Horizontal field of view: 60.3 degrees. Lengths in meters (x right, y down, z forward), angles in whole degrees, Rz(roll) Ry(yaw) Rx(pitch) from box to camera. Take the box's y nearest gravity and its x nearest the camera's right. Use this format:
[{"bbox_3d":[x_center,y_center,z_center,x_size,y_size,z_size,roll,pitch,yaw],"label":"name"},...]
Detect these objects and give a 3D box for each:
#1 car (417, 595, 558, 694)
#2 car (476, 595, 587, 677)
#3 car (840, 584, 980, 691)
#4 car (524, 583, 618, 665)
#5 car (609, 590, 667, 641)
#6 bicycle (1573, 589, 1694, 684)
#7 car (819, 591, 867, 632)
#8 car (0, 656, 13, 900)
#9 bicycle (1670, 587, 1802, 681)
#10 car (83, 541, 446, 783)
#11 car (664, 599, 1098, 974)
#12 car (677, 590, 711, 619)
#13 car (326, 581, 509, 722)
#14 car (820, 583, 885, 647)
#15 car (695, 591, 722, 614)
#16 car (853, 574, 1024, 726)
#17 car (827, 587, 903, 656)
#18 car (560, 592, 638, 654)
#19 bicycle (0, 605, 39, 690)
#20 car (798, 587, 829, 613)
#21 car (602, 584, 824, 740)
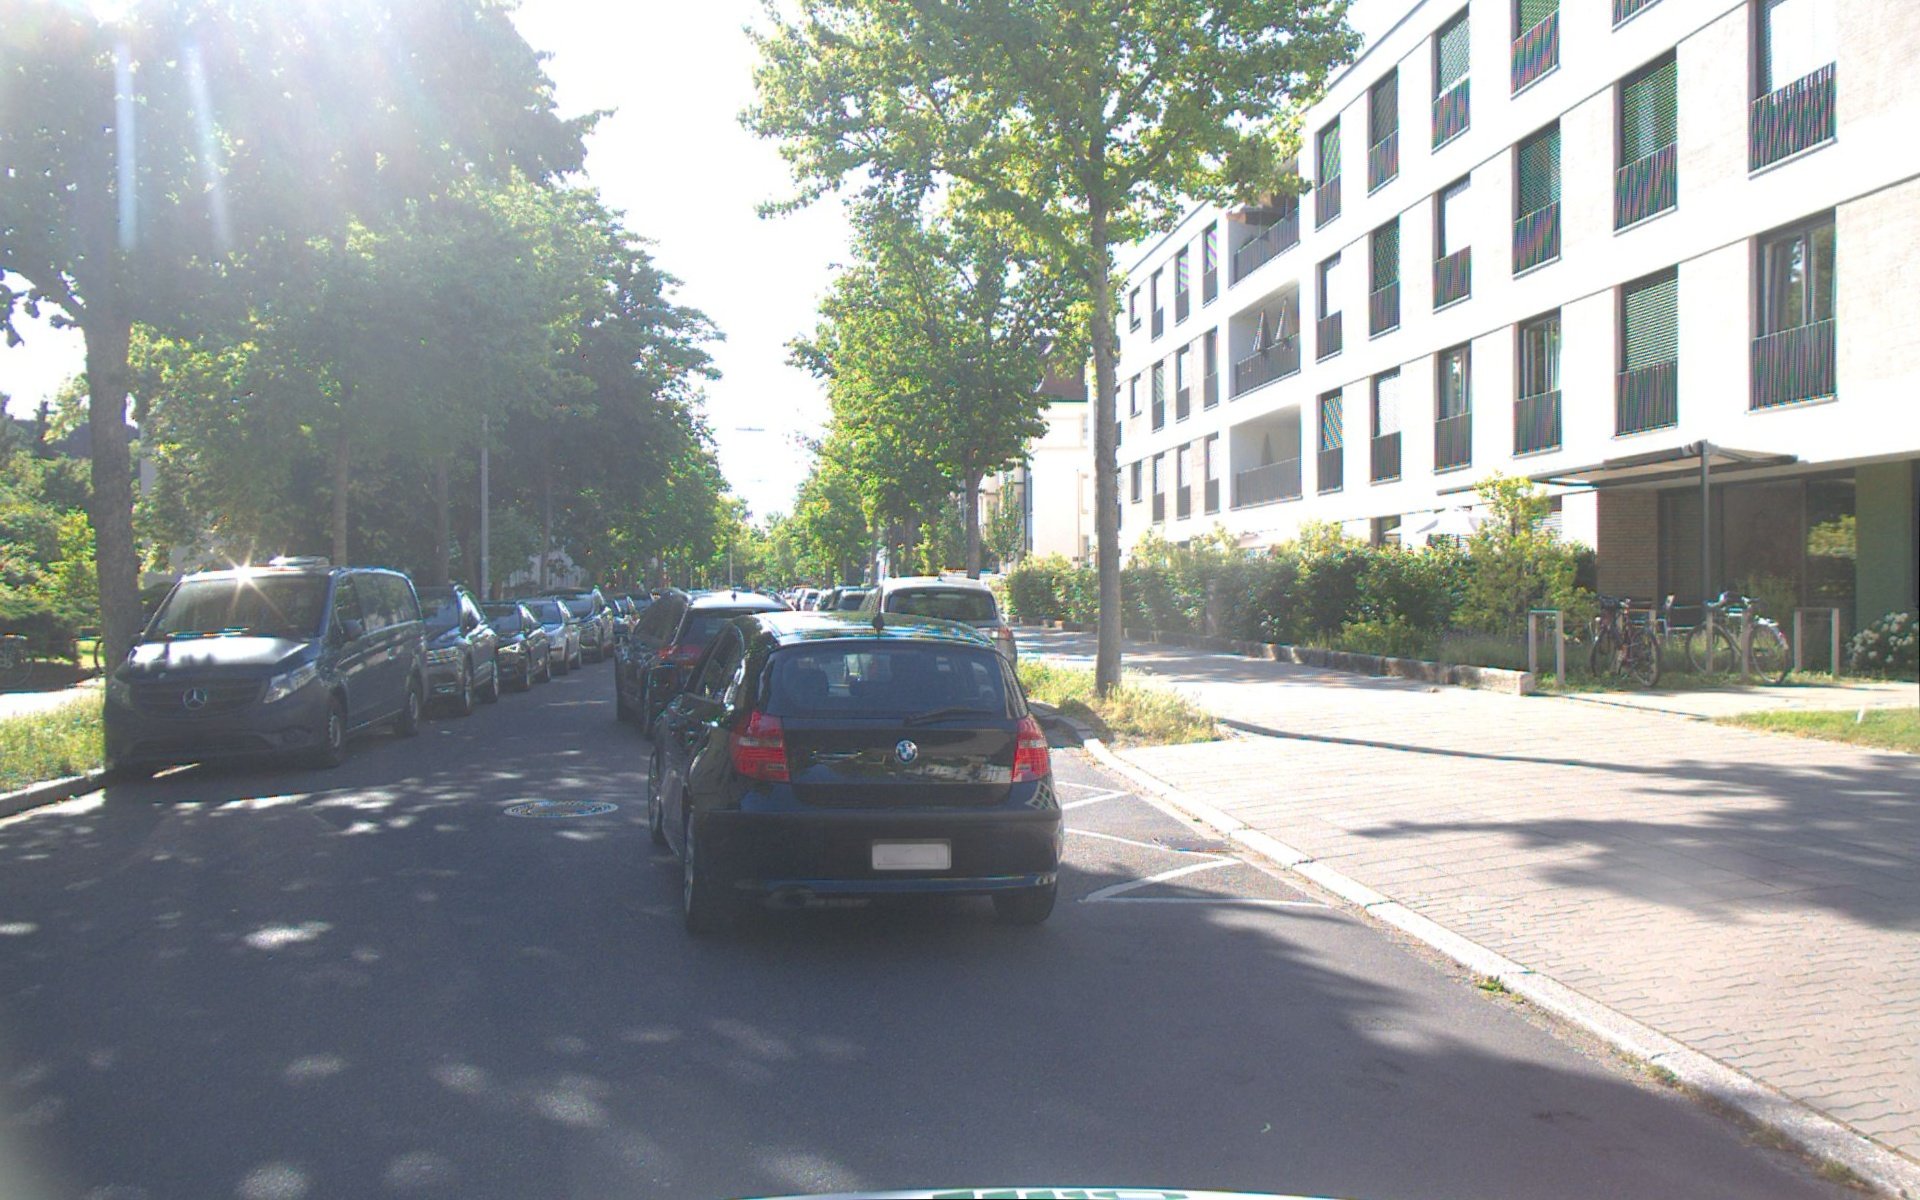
[{"bbox_3d":[-7.730,0.674,27.400,1.581,1.452,4.052,-2,1,-7],"label":"car"},{"bbox_3d":[-8.336,0.664,32.451,1.581,1.452,3.720,-2,1,-7],"label":"car"},{"bbox_3d":[-0.860,0.537,26.038,1.663,1.550,3.990,0,0,-10],"label":"car"},{"bbox_3d":[-8.845,0.502,37.862,1.581,1.708,4.228,-2,1,-7],"label":"car"},{"bbox_3d":[-10.658,0.495,54.970,1.581,1.570,3.860,-2,1,-7],"label":"car"},{"bbox_3d":[8.092,0.419,19.944,0.536,1.073,1.688,-2,0,-9],"label":"bicycle"},{"bbox_3d":[-4.373,0.401,61.383,1.687,1.403,3.847,1,0,-5],"label":"car"},{"bbox_3d":[-5.411,0.797,6.108,1.479,1.575,4.771,-3,1,-7],"label":"car"},{"bbox_3d":[9.416,0.391,20.141,0.536,1.073,1.776,-2,0,-9],"label":"bicycle"},{"bbox_3d":[-6.591,0.493,16.367,1.791,1.937,5.136,-2,1,-6],"label":"car"},{"bbox_3d":[-0.594,0.737,8.384,1.621,1.421,3.400,-1,1,-13],"label":"car"},{"bbox_3d":[-14.196,0.221,88.407,1.581,1.416,3.860,-2,1,-7],"label":"car"},{"bbox_3d":[-7.132,0.608,22.132,1.582,1.639,4.221,-2,1,-9],"label":"car"},{"bbox_3d":[-3.044,0.395,46.337,1.687,1.669,3.847,1,0,-5],"label":"car"},{"bbox_3d":[-16.413,0.164,107.933,1.581,1.416,3.860,-2,0,-7],"label":"car"},{"bbox_3d":[-0.372,0.552,20.368,1.812,1.659,4.406,0,0,-5],"label":"car"},{"bbox_3d":[-2.371,0.489,40.376,1.687,1.555,3.996,1,0,-5],"label":"car"},{"bbox_3d":[-9.449,0.571,43.526,1.581,1.478,3.860,-2,1,-7],"label":"car"},{"bbox_3d":[-14.759,0.720,24.196,2.111,1.230,0.687,-2,0,-18],"label":"bicycle"},{"bbox_3d":[-8.937,-0.030,101.150,1.687,1.506,3.848,-2,0,-3],"label":"car"},{"bbox_3d":[-2.777,0.577,17.861,1.625,1.450,3.978,-1,1,-20],"label":"car"}]
